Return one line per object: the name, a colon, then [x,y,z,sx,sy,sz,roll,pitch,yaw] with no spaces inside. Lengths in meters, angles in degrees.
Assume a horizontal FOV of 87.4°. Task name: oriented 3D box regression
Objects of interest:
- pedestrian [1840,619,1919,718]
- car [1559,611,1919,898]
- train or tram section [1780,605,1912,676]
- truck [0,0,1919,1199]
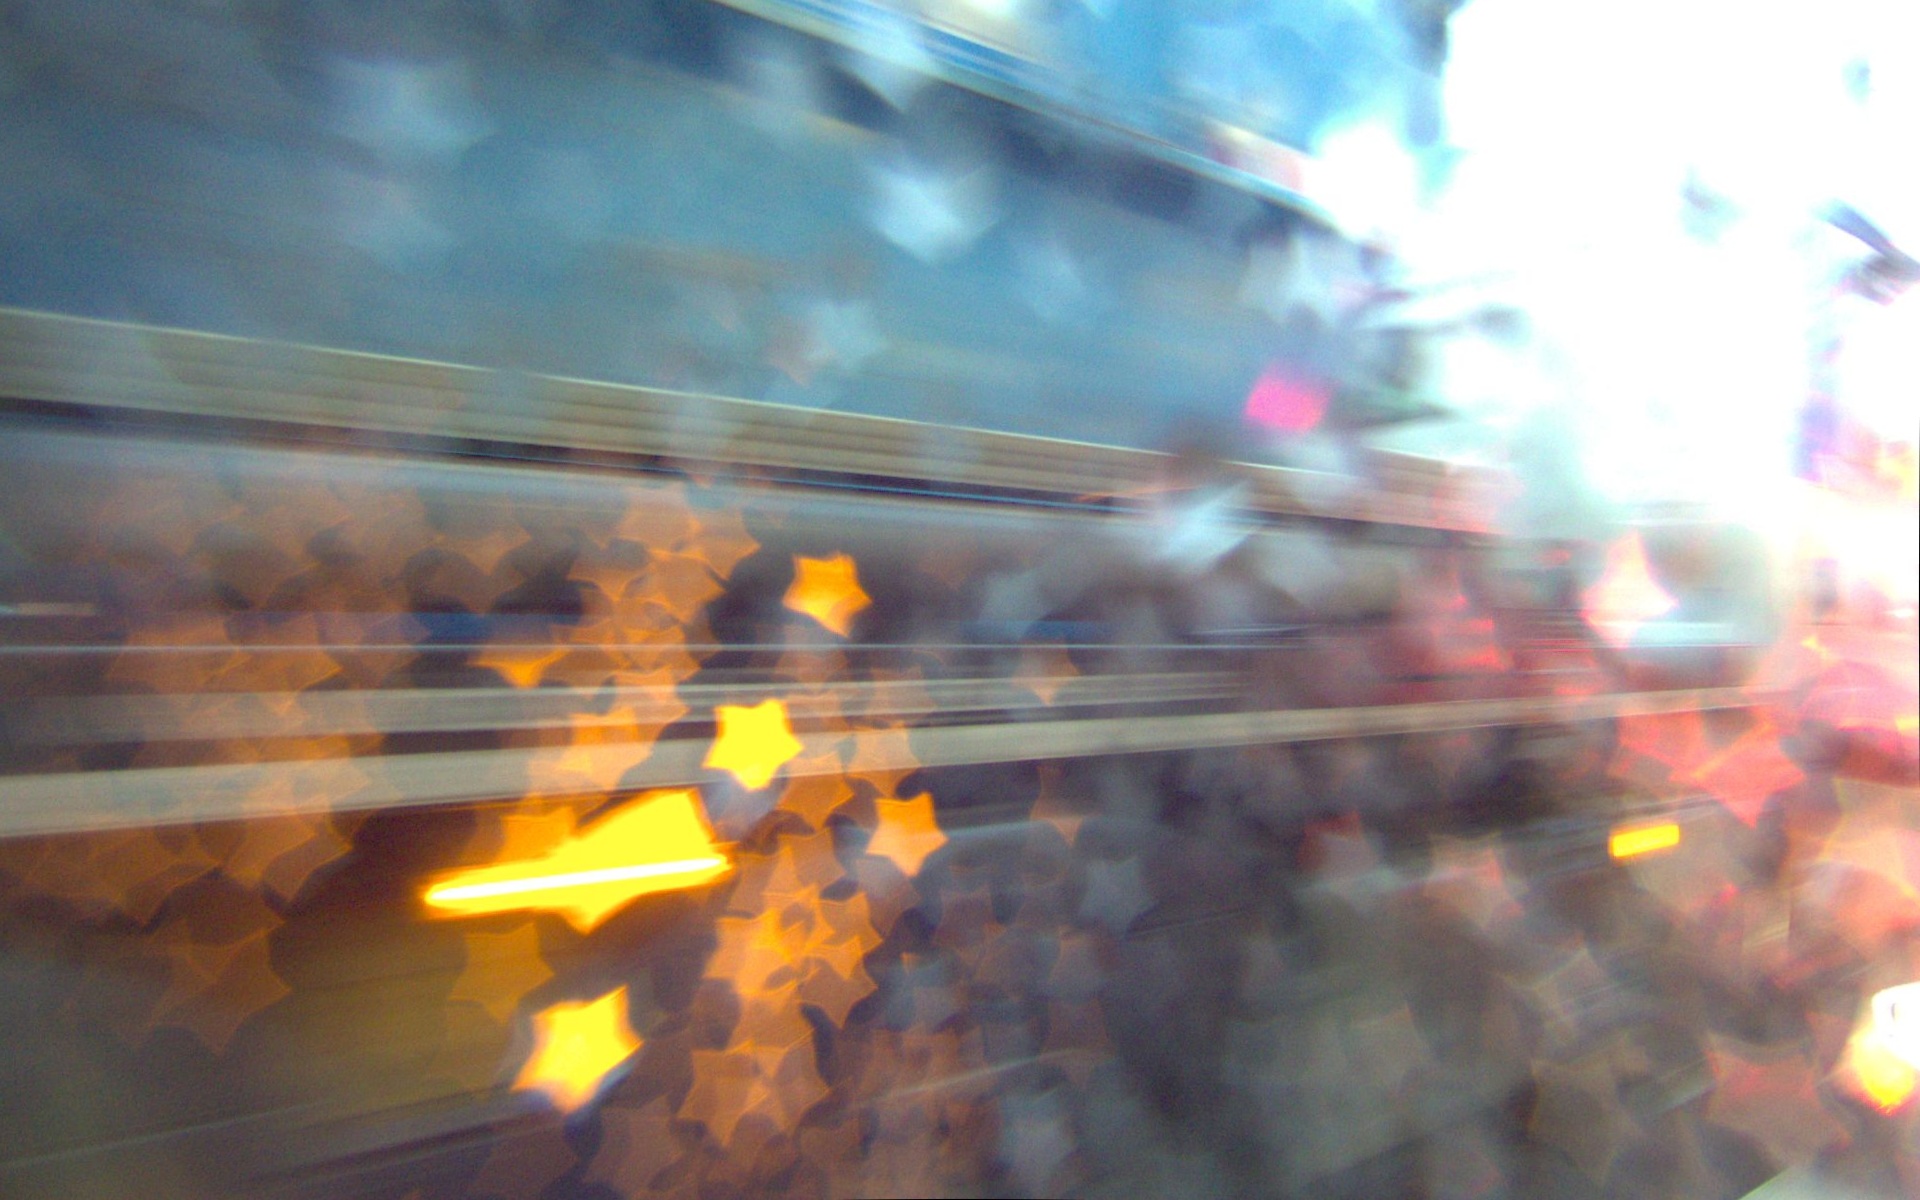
pedestrian: [15.747,1.153,16.990,1.016,1.621,0.716,-1,-3,10]
car: [6.157,0.872,6.992,3.953,1.467,1.697,2,0,-30]
train or tram section: [52.360,2.328,58.979,19.905,3.662,2.841,2,-2,-40]
truck: [0.201,-0.290,2.931,7.445,3.681,2.823,1,-2,-33]
